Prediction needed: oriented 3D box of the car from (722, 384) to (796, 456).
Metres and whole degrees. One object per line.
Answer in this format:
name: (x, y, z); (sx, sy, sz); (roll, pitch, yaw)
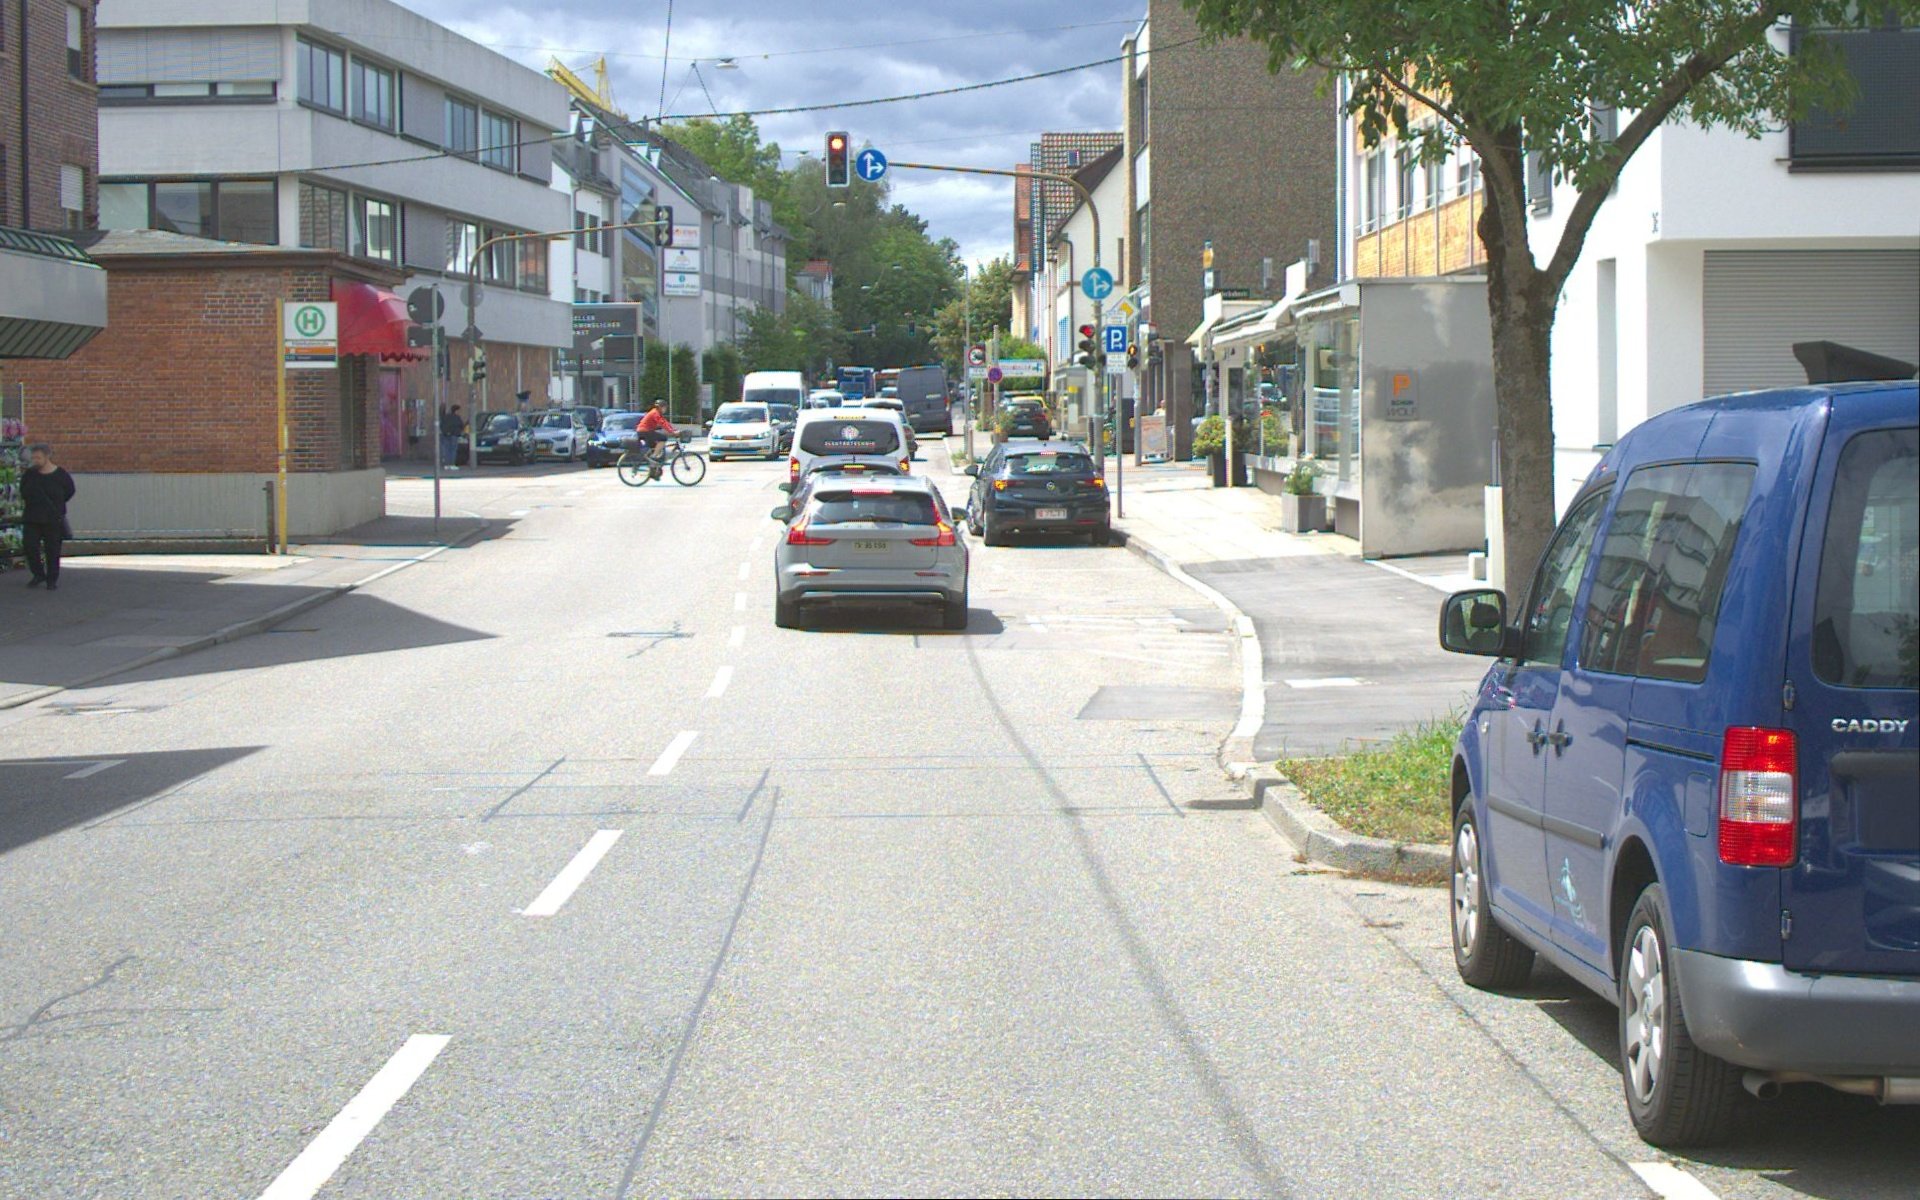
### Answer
car: (-5.999, -5.356, 102.924); (1.993, 2.007, 4.000); (1, 1, -1)

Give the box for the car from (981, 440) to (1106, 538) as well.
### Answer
car: (1.213, -1.636, 49.970); (1.753, 1.366, 4.000); (0, 3, 1)

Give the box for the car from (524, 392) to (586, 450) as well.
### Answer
car: (-11.470, -5.064, 97.520); (1.384, 1.535, 3.399); (0, 1, -1)

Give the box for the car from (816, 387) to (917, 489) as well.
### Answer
car: (-1.748, -3.053, 65.302); (1.836, 1.855, 3.851); (0, 2, -1)

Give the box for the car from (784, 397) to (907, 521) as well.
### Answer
car: (-1.747, -2.169, 53.508); (1.836, 1.855, 3.851); (0, 2, -1)

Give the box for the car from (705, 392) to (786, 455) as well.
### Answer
car: (-5.999, -4.944, 96.631); (1.873, 1.634, 4.000); (1, 1, 2)

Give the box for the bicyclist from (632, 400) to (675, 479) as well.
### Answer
bicyclist: (-6.262, -3.269, 70.205); (0.772, 1.601, 0.580); (0, 1, 6)

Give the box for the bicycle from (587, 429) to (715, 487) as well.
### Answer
bicycle: (-6.302, -2.894, 70.194); (2.524, 1.170, 0.585); (0, 1, 5)

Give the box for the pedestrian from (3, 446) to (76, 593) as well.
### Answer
pedestrian: (-10.122, -0.889, 37.808); (0.628, 1.597, 0.562); (0, 1, 4)

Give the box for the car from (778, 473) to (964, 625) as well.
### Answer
car: (-0.862, -0.544, 34.510); (1.744, 1.412, 4.001); (-1, 2, -1)

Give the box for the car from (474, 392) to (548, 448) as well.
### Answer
car: (-12.057, -4.828, 92.454); (1.551, 1.371, 3.399); (0, 1, -1)

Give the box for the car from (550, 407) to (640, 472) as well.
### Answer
car: (-9.882, -4.345, 93.341); (1.873, 1.634, 4.000); (1, 1, 2)

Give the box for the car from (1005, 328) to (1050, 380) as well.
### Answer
car: (2.864, -10.534, 147.422); (1.802, 2.007, 4.000); (0, 1, -1)

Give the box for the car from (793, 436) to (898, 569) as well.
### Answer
car: (-1.447, -1.276, 43.907); (1.273, 1.522, 3.051); (-1, 5, -1)

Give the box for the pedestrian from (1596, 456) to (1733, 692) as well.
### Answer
pedestrian: (5.003, -0.191, 24.412); (0.737, 1.641, 0.616); (-2, 2, -42)

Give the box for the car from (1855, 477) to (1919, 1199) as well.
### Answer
car: (2.444, 0.599, 3.680); (1.786, 1.504, 4.365); (0, 1, -1)

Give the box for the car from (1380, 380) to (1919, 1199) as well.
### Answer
car: (2.391, 0.371, 9.520); (1.844, 1.761, 4.515); (0, 1, -1)

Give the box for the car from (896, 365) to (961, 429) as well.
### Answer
car: (-1.230, -7.895, 134.016); (2.436, 2.310, 5.327); (1, 2, -1)

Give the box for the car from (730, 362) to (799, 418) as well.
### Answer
car: (-6.276, -6.765, 110.890); (1.873, 1.634, 4.000); (0, 1, 2)
